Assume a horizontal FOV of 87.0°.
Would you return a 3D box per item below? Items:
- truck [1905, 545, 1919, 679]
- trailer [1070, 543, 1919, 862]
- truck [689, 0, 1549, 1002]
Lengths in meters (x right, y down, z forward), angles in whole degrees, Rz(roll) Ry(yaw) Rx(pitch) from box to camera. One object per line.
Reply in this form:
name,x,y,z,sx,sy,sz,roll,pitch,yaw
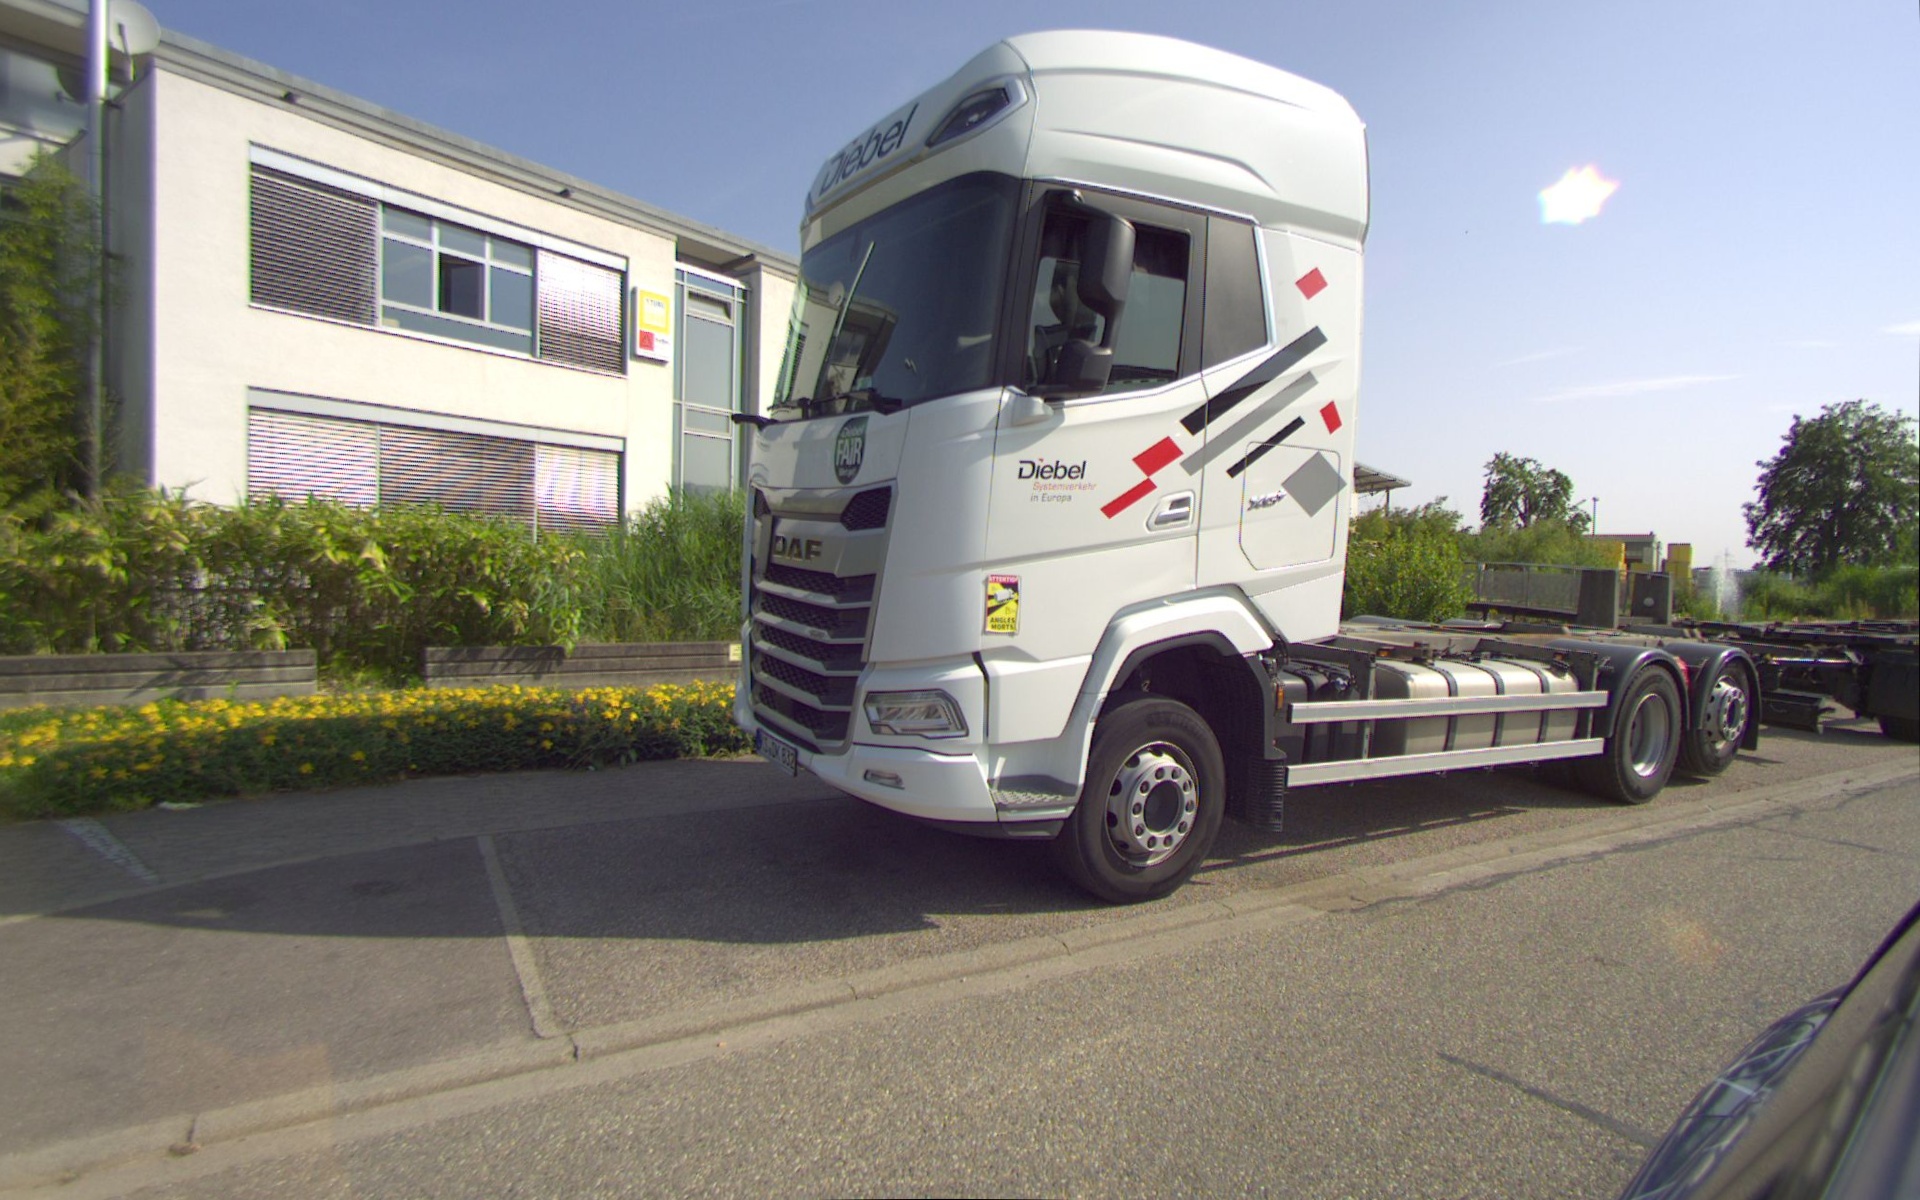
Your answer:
truck,20.858,-0.385,18.106,9.561,3.576,2.903,-1,6,-30
trailer,8.358,0.495,10.557,15.849,1.592,2.759,0,4,-31
truck,0.803,-0.602,5.908,3.920,4.029,2.760,0,4,-31
